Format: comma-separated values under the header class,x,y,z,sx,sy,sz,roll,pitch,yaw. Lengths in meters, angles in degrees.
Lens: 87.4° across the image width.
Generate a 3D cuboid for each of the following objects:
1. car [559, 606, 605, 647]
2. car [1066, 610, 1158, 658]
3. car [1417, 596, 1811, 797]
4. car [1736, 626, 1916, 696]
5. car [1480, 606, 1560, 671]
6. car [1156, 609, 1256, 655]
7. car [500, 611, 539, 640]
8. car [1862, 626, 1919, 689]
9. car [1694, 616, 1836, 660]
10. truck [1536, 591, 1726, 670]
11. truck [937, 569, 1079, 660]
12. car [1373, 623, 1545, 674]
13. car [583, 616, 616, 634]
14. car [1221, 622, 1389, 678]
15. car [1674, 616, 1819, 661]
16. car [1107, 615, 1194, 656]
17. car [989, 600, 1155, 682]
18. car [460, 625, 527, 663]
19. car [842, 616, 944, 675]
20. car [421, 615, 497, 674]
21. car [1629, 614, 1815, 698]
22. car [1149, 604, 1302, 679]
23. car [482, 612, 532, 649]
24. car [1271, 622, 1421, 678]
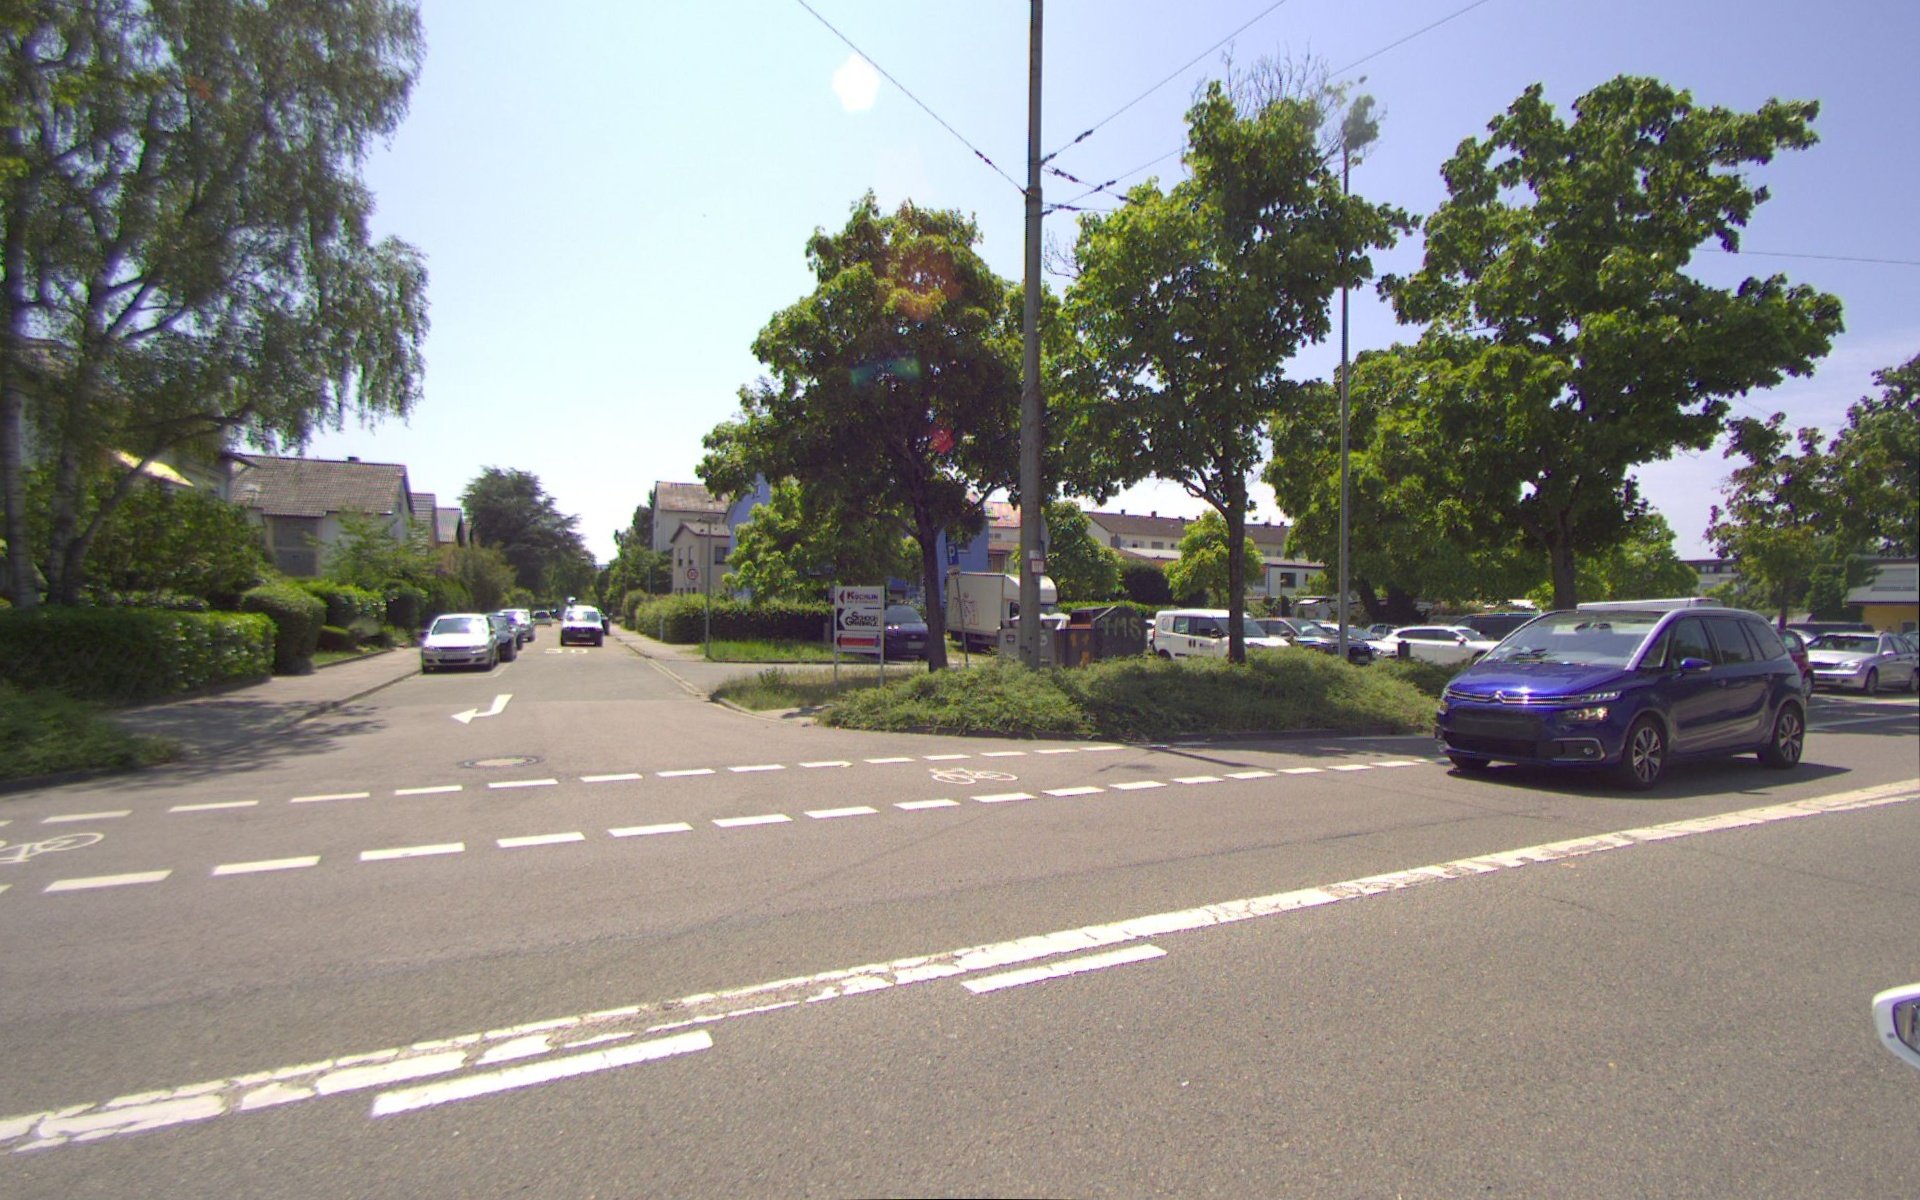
class,x,y,z,sx,sy,sz,roll,pitch,yaw
car,-16.809,1.141,44.520,1.716,1.729,4.212,1,-1,-23
car,6.291,1.387,42.046,1.628,1.845,4.108,1,0,-30
car,6.659,0.868,10.155,4.019,1.678,1.729,1,-2,-30
car,20.326,1.378,23.526,4.714,1.446,1.711,1,0,-30
car,18.912,1.252,33.844,1.827,2.021,4.208,2,0,36
car,10.723,1.386,43.966,1.948,1.845,4.108,2,0,-30
car,-21.431,1.236,48.815,1.526,1.347,3.880,1,-1,-27
car,25.741,1.526,26.523,3.737,1.504,1.607,1,3,-28
car,36.105,1.650,45.171,1.776,1.837,4.695,1,-1,-30
truck,25.340,1.113,38.192,2.402,2.796,5.556,1,-1,-28
truck,1.720,0.525,39.754,2.126,3.270,6.941,1,0,-31
car,16.287,1.541,33.047,2.034,1.508,4.738,1,-1,-30
car,-23.582,1.623,65.617,1.526,1.141,3.880,1,-1,-27
car,9.762,1.359,28.688,2.059,1.422,4.171,1,-1,-33
car,34.308,1.626,43.932,1.776,1.837,4.695,1,-1,-30
car,8.207,1.504,43.518,1.712,1.597,3.729,1,0,-30
car,2.728,0.979,25.575,2.036,1.881,4.429,1,-1,-29
car,-14.347,1.318,31.034,1.522,1.005,3.732,1,0,-20
car,-2.461,1.551,35.664,1.915,1.845,4.690,1,0,-27
car,-13.191,1.125,26.357,1.528,1.412,3.876,1,-1,-30
car,15.844,1.141,20.871,3.680,1.567,1.665,2,0,-28
car,7.150,1.074,27.455,1.651,1.860,4.251,1,-1,-27
car,-17.812,1.177,39.631,1.522,1.412,3.889,1,-1,-20
car,11.747,1.483,30.856,1.907,1.528,4.107,1,-1,-27
